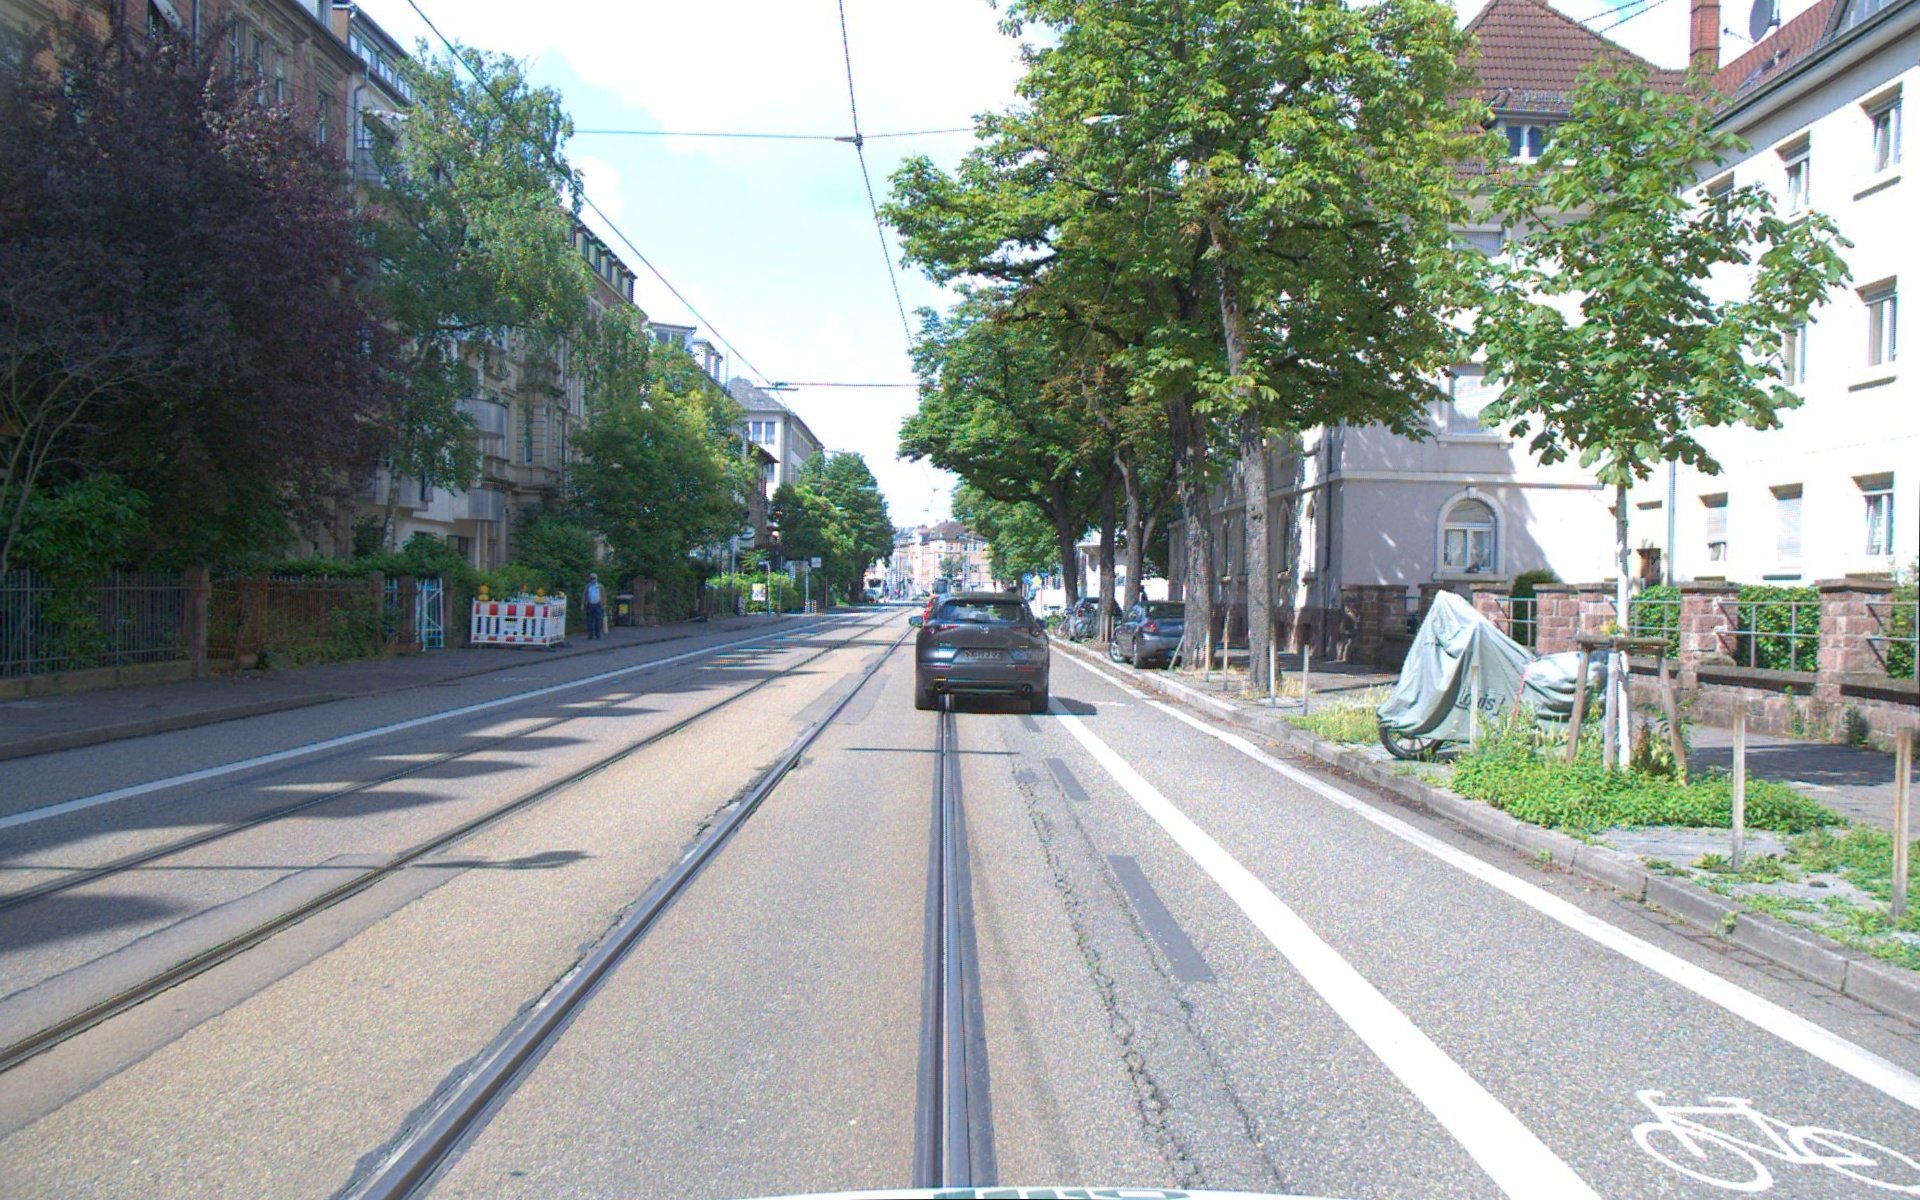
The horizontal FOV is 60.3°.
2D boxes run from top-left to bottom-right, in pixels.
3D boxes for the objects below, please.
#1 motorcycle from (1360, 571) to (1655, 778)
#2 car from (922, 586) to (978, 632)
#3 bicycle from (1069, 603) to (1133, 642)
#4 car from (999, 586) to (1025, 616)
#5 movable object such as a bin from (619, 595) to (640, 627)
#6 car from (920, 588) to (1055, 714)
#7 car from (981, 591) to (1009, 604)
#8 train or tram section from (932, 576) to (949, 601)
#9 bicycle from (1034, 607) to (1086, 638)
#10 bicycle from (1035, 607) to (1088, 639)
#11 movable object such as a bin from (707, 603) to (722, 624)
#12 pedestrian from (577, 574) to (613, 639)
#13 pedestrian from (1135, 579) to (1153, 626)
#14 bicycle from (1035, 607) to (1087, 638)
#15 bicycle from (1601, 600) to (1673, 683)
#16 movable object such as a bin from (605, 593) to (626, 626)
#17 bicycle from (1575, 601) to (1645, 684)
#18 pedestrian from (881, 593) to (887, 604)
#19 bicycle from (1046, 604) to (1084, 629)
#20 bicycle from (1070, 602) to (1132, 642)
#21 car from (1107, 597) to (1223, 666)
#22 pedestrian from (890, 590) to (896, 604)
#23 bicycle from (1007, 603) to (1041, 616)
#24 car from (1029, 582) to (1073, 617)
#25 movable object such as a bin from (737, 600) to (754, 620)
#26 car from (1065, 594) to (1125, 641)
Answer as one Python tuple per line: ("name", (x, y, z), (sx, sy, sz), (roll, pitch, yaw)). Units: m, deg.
("motorcycle", (4.798, 0.604, 14.622), (2.342, 1.625, 0.675), (3, 1, 38))
("car", (-0.385, 0.323, 62.017), (1.953, 1.555, 3.999), (3, 0, -1))
("bicycle", (4.271, 0.685, 50.145), (1.895, 1.196, 0.513), (0, -1, 11))
("car", (3.537, 0.053, 113.016), (1.685, 2.003, 4.207), (1, 0, 0))
("movable object such as a bin", (-11.639, 0.377, 58.288), (0.526, 1.113, 0.790), (1, 0, 4))
("car", (0.319, 0.631, 22.574), (1.686, 1.553, 3.589), (1, 0, -1))
("car", (5.035, -0.322, 238.483), (3.748, 1.646, 1.629), (3, 0, -19))
("train or tram section", (-2.932, -1.748, 254.360), (2.519, 3.838, 13.025), (1, 0, 0))
("bicycle", (3.633, 0.803, 60.218), (1.864, 1.091, 0.402), (1, 0, -1))
("bicycle", (3.641, 0.819, 59.298), (1.864, 1.091, 0.402), (1, 0, -1))
("movable object such as a bin", (-10.708, 0.599, 72.054), (0.550, 0.891, 0.616), (1, 0, -1))
("pedestrian", (-9.971, 0.176, 45.225), (0.806, 1.736, 0.891), (1, 0, -4))
("pedestrian", (7.500, 0.111, 67.372), (0.598, 1.868, 0.878), (1, -2, -3))
("bicycle", (3.651, 0.806, 59.816), (1.864, 1.091, 0.402), (1, 0, -1))
("bicycle", (10.507, 0.628, 25.720), (0.403, 1.233, 1.704), (1, 0, 0))
("movable object such as a bin", (-12.165, 0.336, 58.429), (0.537, 1.127, 0.790), (1, 0, 4))
("bicycle", (10.066, 0.639, 25.676), (0.403, 1.233, 1.704), (1, 0, 0))
("pedestrian", (-10.444, -0.213, 226.818), (0.736, 1.537, 0.823), (1, 0, -5))
("bicycle", (4.095, 0.640, 64.352), (1.460, 1.000, 0.259), (0, 0, 1))
("bicycle", (4.322, 0.674, 50.702), (1.853, 1.196, 0.513), (0, -1, 11))
("car", (4.530, 0.664, 37.156), (1.809, 1.434, 4.391), (-1, 0, -4))
("pedestrian", (-10.212, -0.488, 251.177), (0.867, 2.049, 0.617), (1, 0, -5))
("bicycle", (4.242, 0.624, 109.773), (2.229, 0.876, 0.671), (1, 0, -2))
("car", (5.288, -0.036, 96.568), (1.753, 1.972, 4.984), (1, 0, -7))
("movable object such as a bin", (-10.993, 0.499, 84.814), (0.730, 1.005, 1.114), (3, 0, -1))
("car", (4.440, 0.554, 54.908), (1.632, 1.455, 3.765), (-1, 0, 0))
